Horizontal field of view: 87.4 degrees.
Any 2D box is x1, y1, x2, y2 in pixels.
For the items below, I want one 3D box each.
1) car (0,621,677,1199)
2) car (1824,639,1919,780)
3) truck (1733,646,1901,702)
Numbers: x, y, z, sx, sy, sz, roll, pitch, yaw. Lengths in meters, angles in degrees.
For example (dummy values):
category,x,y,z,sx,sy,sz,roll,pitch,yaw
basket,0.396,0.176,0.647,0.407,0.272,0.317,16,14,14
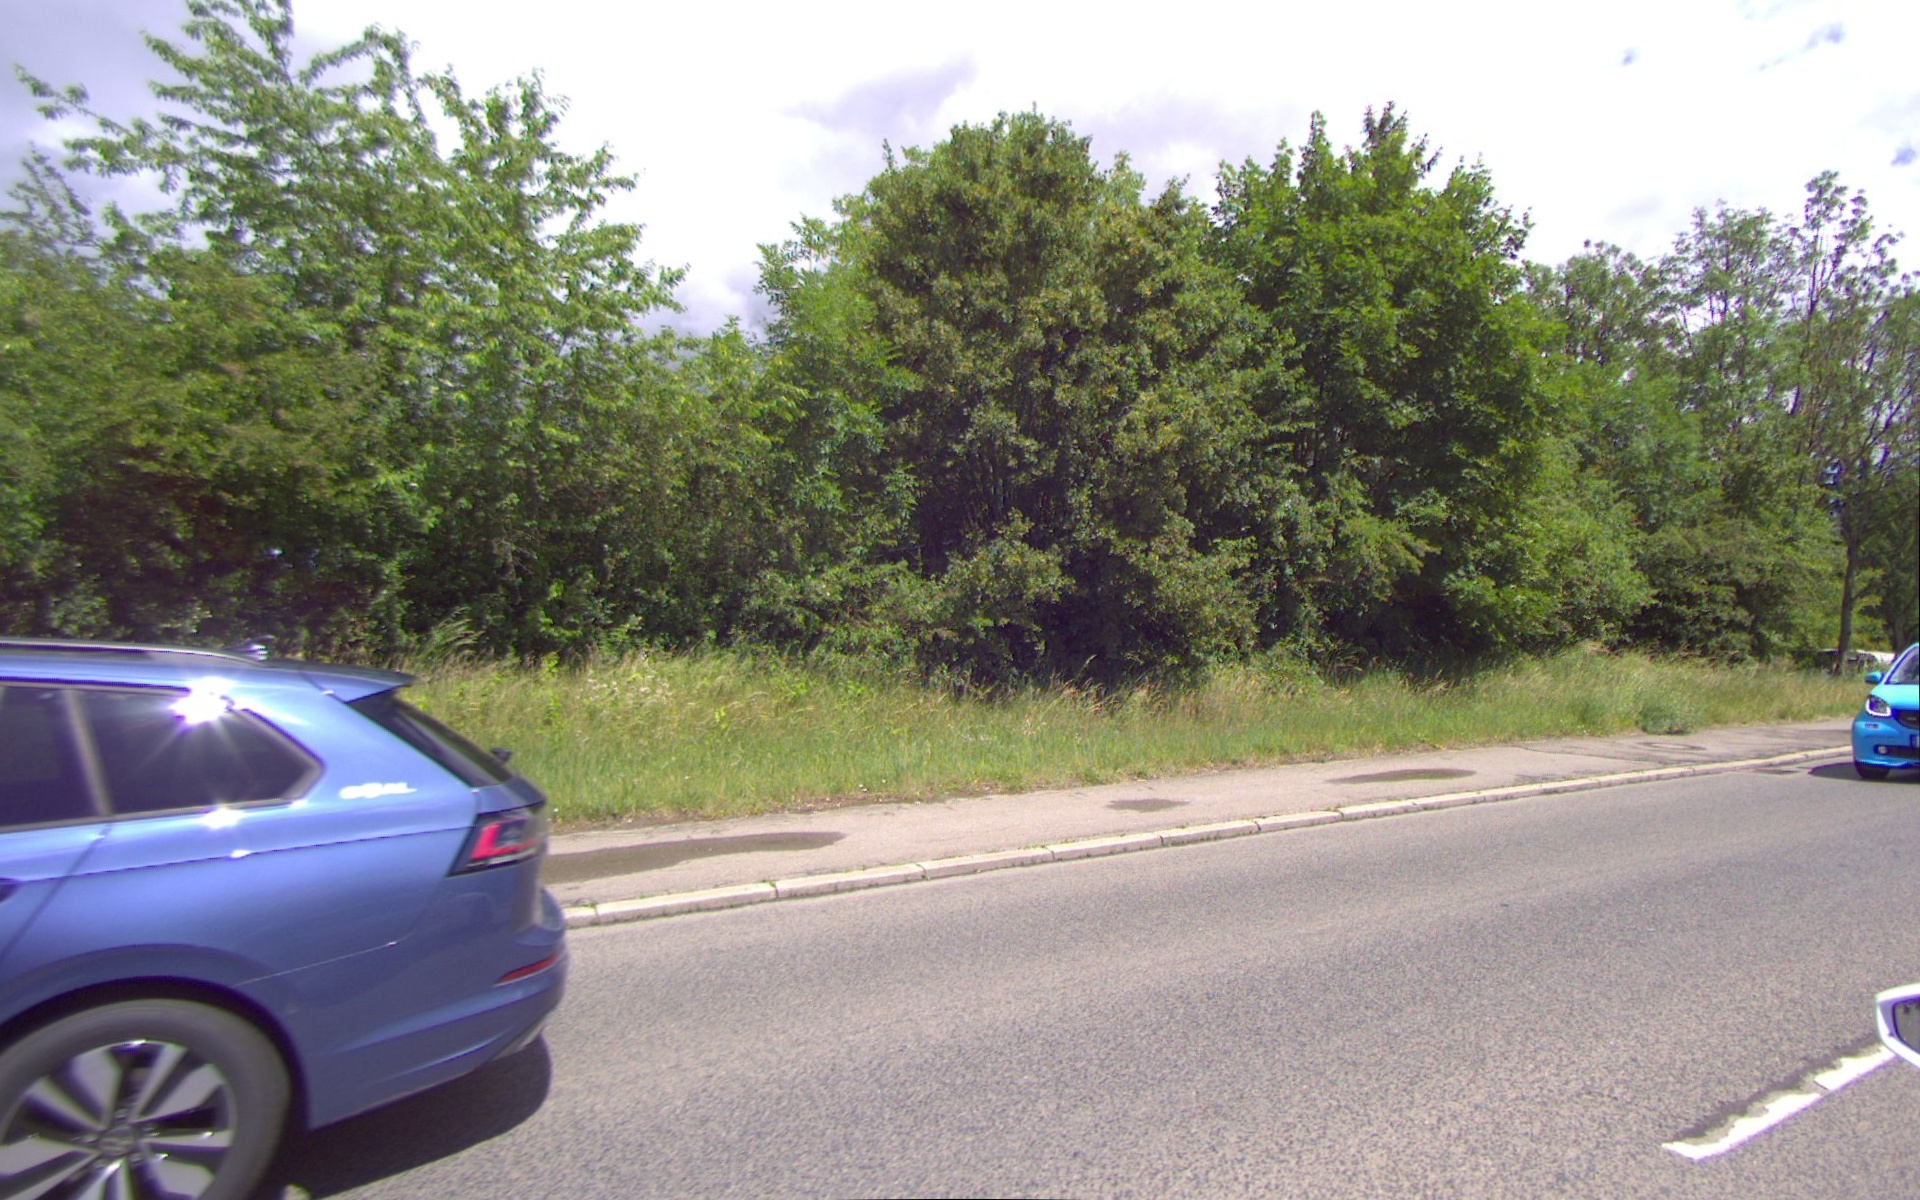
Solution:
category,x,y,z,sx,sy,sz,roll,pitch,yaw
car,-3.141,0.813,2.503,4.402,1.465,1.775,1,-3,-32
car,11.286,1.153,11.108,2.933,1.465,1.776,1,-3,-32
truck,42.785,3.683,50.399,1.970,2.643,6.196,1,-4,-20
